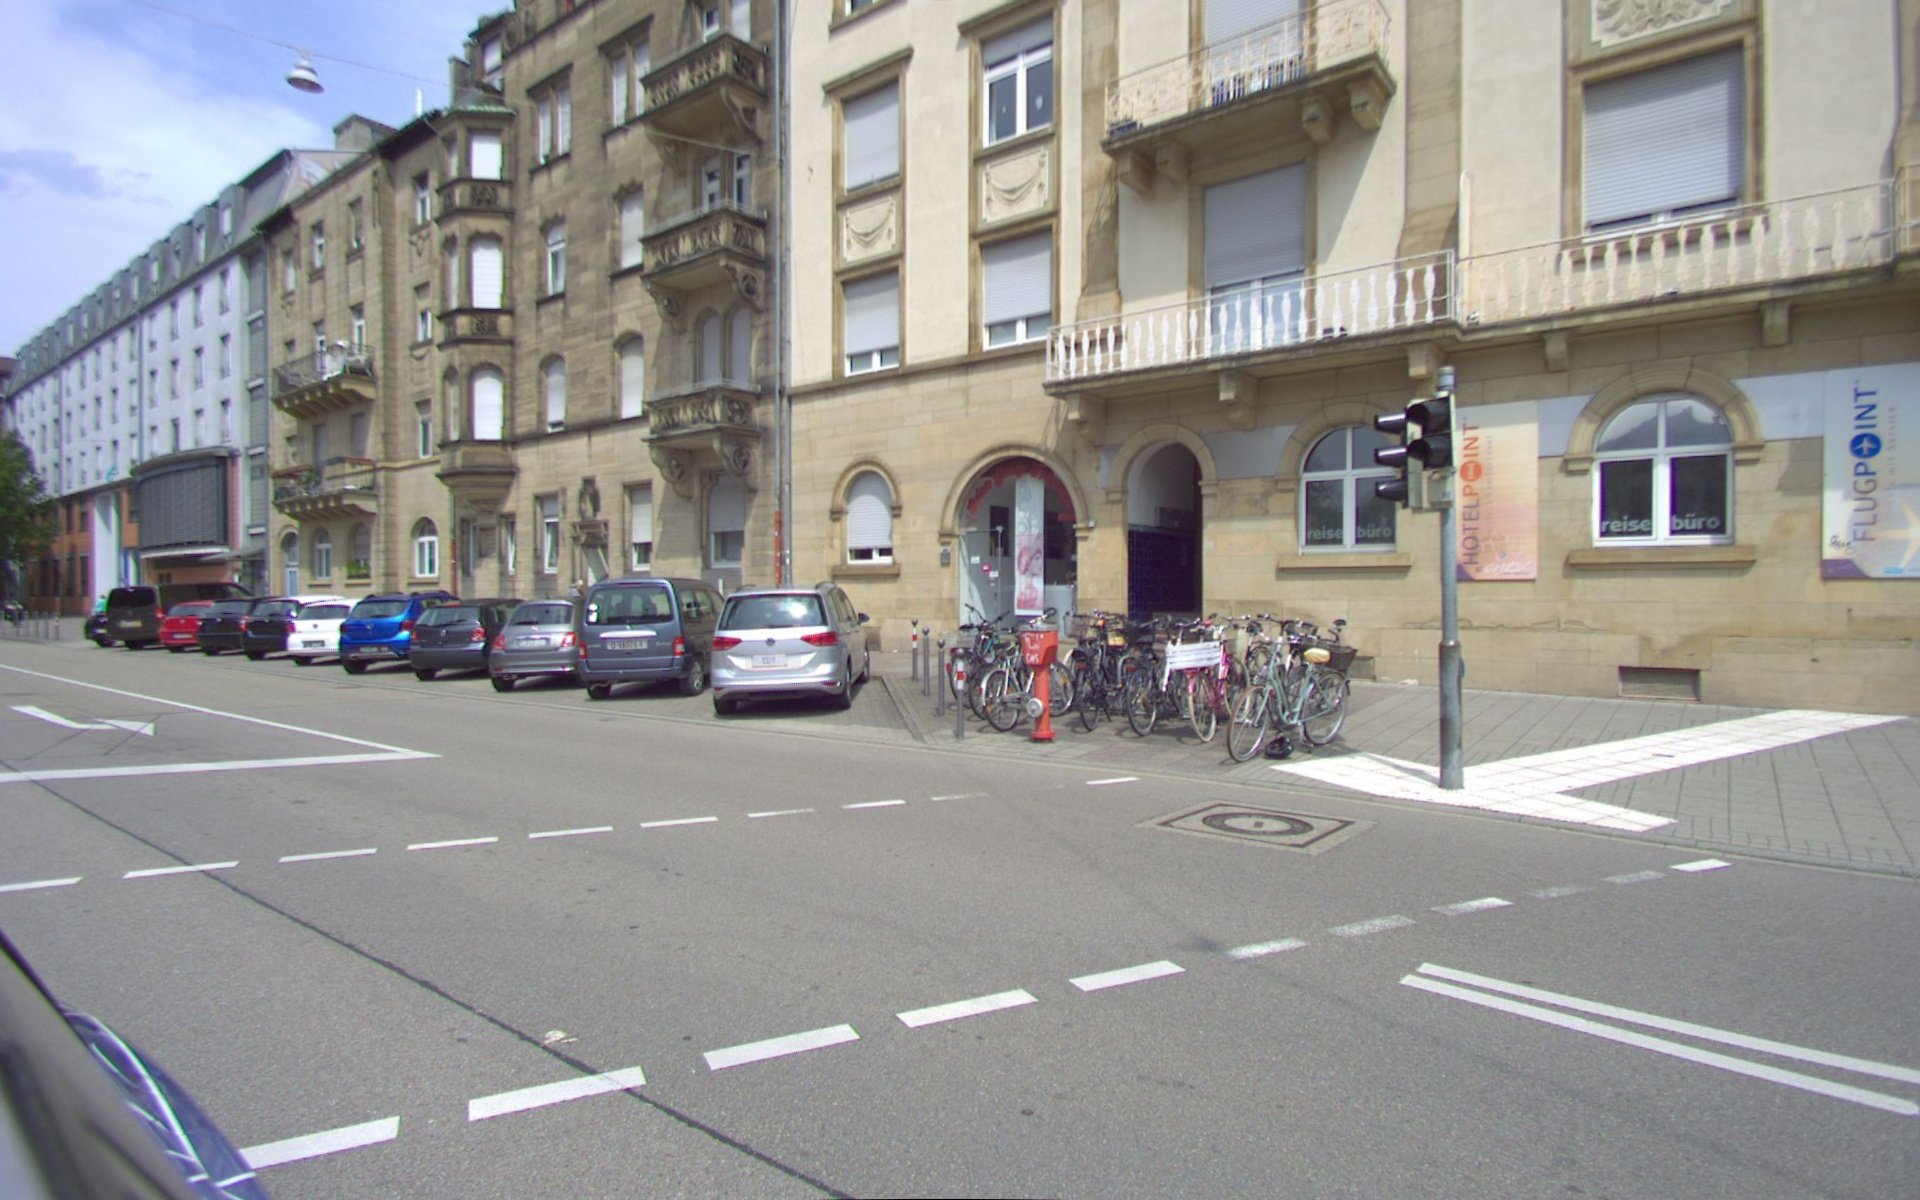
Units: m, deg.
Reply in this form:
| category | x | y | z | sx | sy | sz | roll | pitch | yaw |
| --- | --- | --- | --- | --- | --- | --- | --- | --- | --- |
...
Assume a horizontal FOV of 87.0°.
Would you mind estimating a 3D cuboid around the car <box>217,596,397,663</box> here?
| category | x | y | z | sx | sy | sz | roll | pitch | yaw |
| --- | --- | --- | --- | --- | --- | --- | --- | --- | --- |
| car | -16.585 | 0.700 | 25.960 | 1.775 | 1.576 | 4.005 | 0 | 0 | 6 |

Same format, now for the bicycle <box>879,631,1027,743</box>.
| category | x | y | z | sx | sy | sz | roll | pitch | yaw |
| --- | --- | --- | --- | --- | --- | --- | --- | --- | --- |
| bicycle | -0.050 | 0.942 | 11.480 | 0.594 | 1.129 | 1.789 | 0 | 0 | 45 |

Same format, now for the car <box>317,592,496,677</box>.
| category | x | y | z | sx | sy | sz | roll | pitch | yaw |
| --- | --- | --- | --- | --- | --- | --- | --- | --- | --- |
| car | -11.718 | 0.685 | 21.728 | 1.701 | 1.664 | 3.776 | 0 | 0 | 2 |

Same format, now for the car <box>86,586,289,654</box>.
| category | x | y | z | sx | sy | sz | roll | pitch | yaw |
| --- | --- | --- | --- | --- | --- | --- | --- | --- | --- |
| car | -23.652 | 0.557 | 31.322 | 2.094 | 1.924 | 5.265 | 0 | 0 | 4 |

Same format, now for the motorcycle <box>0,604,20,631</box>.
| category | x | y | z | sx | sy | sz | roll | pitch | yaw |
| --- | --- | --- | --- | --- | --- | --- | --- | --- | --- |
| motorcycle | -43.254 | 0.790 | 45.970 | 1.778 | 1.181 | 0.577 | -1 | 1 | 40 |

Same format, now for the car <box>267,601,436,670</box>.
| category | x | y | z | sx | sy | sz | roll | pitch | yaw |
| --- | --- | --- | --- | --- | --- | --- | --- | --- | --- |
| car | -14.273 | 0.782 | 23.978 | 1.718 | 1.492 | 3.683 | 0 | 0 | 2 |

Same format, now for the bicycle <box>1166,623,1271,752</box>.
| category | x | y | z | sx | sy | sz | roll | pitch | yaw |
| --- | --- | --- | --- | --- | --- | --- | --- | --- | --- |
| bicycle | 2.755 | 0.861 | 10.658 | 0.592 | 1.128 | 1.796 | 0 | 2 | 30 |

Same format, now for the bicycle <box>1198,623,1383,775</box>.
| category | x | y | z | sx | sy | sz | roll | pitch | yaw |
| --- | --- | --- | --- | --- | --- | --- | --- | --- | --- |
| bicycle | 3.035 | 0.849 | 9.207 | 1.849 | 1.175 | 0.499 | -2 | 2 | -31 |

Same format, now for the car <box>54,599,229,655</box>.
| category | x | y | z | sx | sy | sz | roll | pitch | yaw |
| --- | --- | --- | --- | --- | --- | --- | --- | --- | --- |
| car | -26.281 | 0.821 | 32.734 | 1.873 | 1.419 | 4.673 | -2 | 2 | -1 |

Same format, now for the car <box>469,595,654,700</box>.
| category | x | y | z | sx | sy | sz | roll | pitch | yaw |
| --- | --- | --- | --- | --- | --- | --- | --- | --- | --- |
| car | -6.926 | 0.760 | 18.055 | 1.771 | 1.664 | 4.012 | 0 | 0 | -1 |

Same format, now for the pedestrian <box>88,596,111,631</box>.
| category | x | y | z | sx | sy | sz | roll | pitch | yaw |
| --- | --- | --- | --- | --- | --- | --- | --- | --- | --- |
| pedestrian | -37.602 | 0.586 | 44.225 | 0.507 | 1.497 | 0.656 | 0 | 0 | 28 |

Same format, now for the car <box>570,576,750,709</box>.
| category | x | y | z | sx | sy | sz | roll | pitch | yaw |
| --- | --- | --- | --- | --- | --- | --- | --- | --- | --- |
| car | -4.697 | 0.608 | 16.439 | 1.771 | 1.893 | 4.013 | 0 | 0 | -1 |

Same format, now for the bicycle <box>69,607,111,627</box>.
| category | x | y | z | sx | sy | sz | roll | pitch | yaw |
| --- | --- | --- | --- | --- | --- | --- | --- | --- | --- |
| bicycle | -46.517 | 0.903 | 54.140 | 1.591 | 0.933 | 0.933 | -7 | 5 | -40 |

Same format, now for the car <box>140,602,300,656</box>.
| category | x | y | z | sx | sy | sz | roll | pitch | yaw |
| --- | --- | --- | --- | --- | --- | --- | --- | --- | --- |
| car | -21.252 | 0.784 | 29.283 | 1.771 | 1.420 | 4.013 | 0 | 0 | -1 |

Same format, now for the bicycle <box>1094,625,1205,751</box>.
| category | x | y | z | sx | sy | sz | roll | pitch | yaw |
| --- | --- | --- | --- | --- | --- | --- | --- | --- | --- |
| bicycle | 2.084 | 0.892 | 10.931 | 0.592 | 1.128 | 1.796 | 0 | 2 | 30 |

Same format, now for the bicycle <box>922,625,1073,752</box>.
| category | x | y | z | sx | sy | sz | roll | pitch | yaw |
| --- | --- | --- | --- | --- | --- | --- | --- | --- | --- |
| bicycle | 0.446 | 0.908 | 11.026 | 0.594 | 1.128 | 1.790 | 0 | 3 | 42 |

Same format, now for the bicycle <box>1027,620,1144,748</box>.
| category | x | y | z | sx | sy | sz | roll | pitch | yaw |
| --- | --- | --- | --- | --- | --- | --- | --- | --- | --- |
| bicycle | 1.405 | 0.865 | 11.056 | 0.592 | 1.175 | 1.796 | 0 | 2 | 30 |

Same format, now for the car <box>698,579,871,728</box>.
| category | x | y | z | sx | sy | sz | roll | pitch | yaw |
| --- | --- | --- | --- | --- | --- | --- | --- | --- | --- |
| car | -2.292 | 0.643 | 14.180 | 1.771 | 1.787 | 4.013 | 0 | 0 | -1 |

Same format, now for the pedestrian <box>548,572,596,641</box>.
| category | x | y | z | sx | sy | sz | roll | pitch | yaw |
| --- | --- | --- | --- | --- | --- | --- | --- | --- | --- |
| pedestrian | -9.331 | 0.139 | 24.337 | 0.678 | 1.606 | 0.784 | 0 | 2 | 38 |

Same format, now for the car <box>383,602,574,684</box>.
| category | x | y | z | sx | sy | sz | roll | pitch | yaw |
| --- | --- | --- | --- | --- | --- | --- | --- | --- | --- |
| car | -9.365 | 0.766 | 20.052 | 1.812 | 1.454 | 3.901 | 0 | 0 | 2 |

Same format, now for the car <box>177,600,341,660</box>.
| category | x | y | z | sx | sy | sz | roll | pitch | yaw |
| --- | --- | --- | --- | --- | --- | --- | --- | --- | --- |
| car | -19.049 | 0.773 | 27.733 | 1.610 | 1.514 | 3.993 | 0 | 0 | 3 |
